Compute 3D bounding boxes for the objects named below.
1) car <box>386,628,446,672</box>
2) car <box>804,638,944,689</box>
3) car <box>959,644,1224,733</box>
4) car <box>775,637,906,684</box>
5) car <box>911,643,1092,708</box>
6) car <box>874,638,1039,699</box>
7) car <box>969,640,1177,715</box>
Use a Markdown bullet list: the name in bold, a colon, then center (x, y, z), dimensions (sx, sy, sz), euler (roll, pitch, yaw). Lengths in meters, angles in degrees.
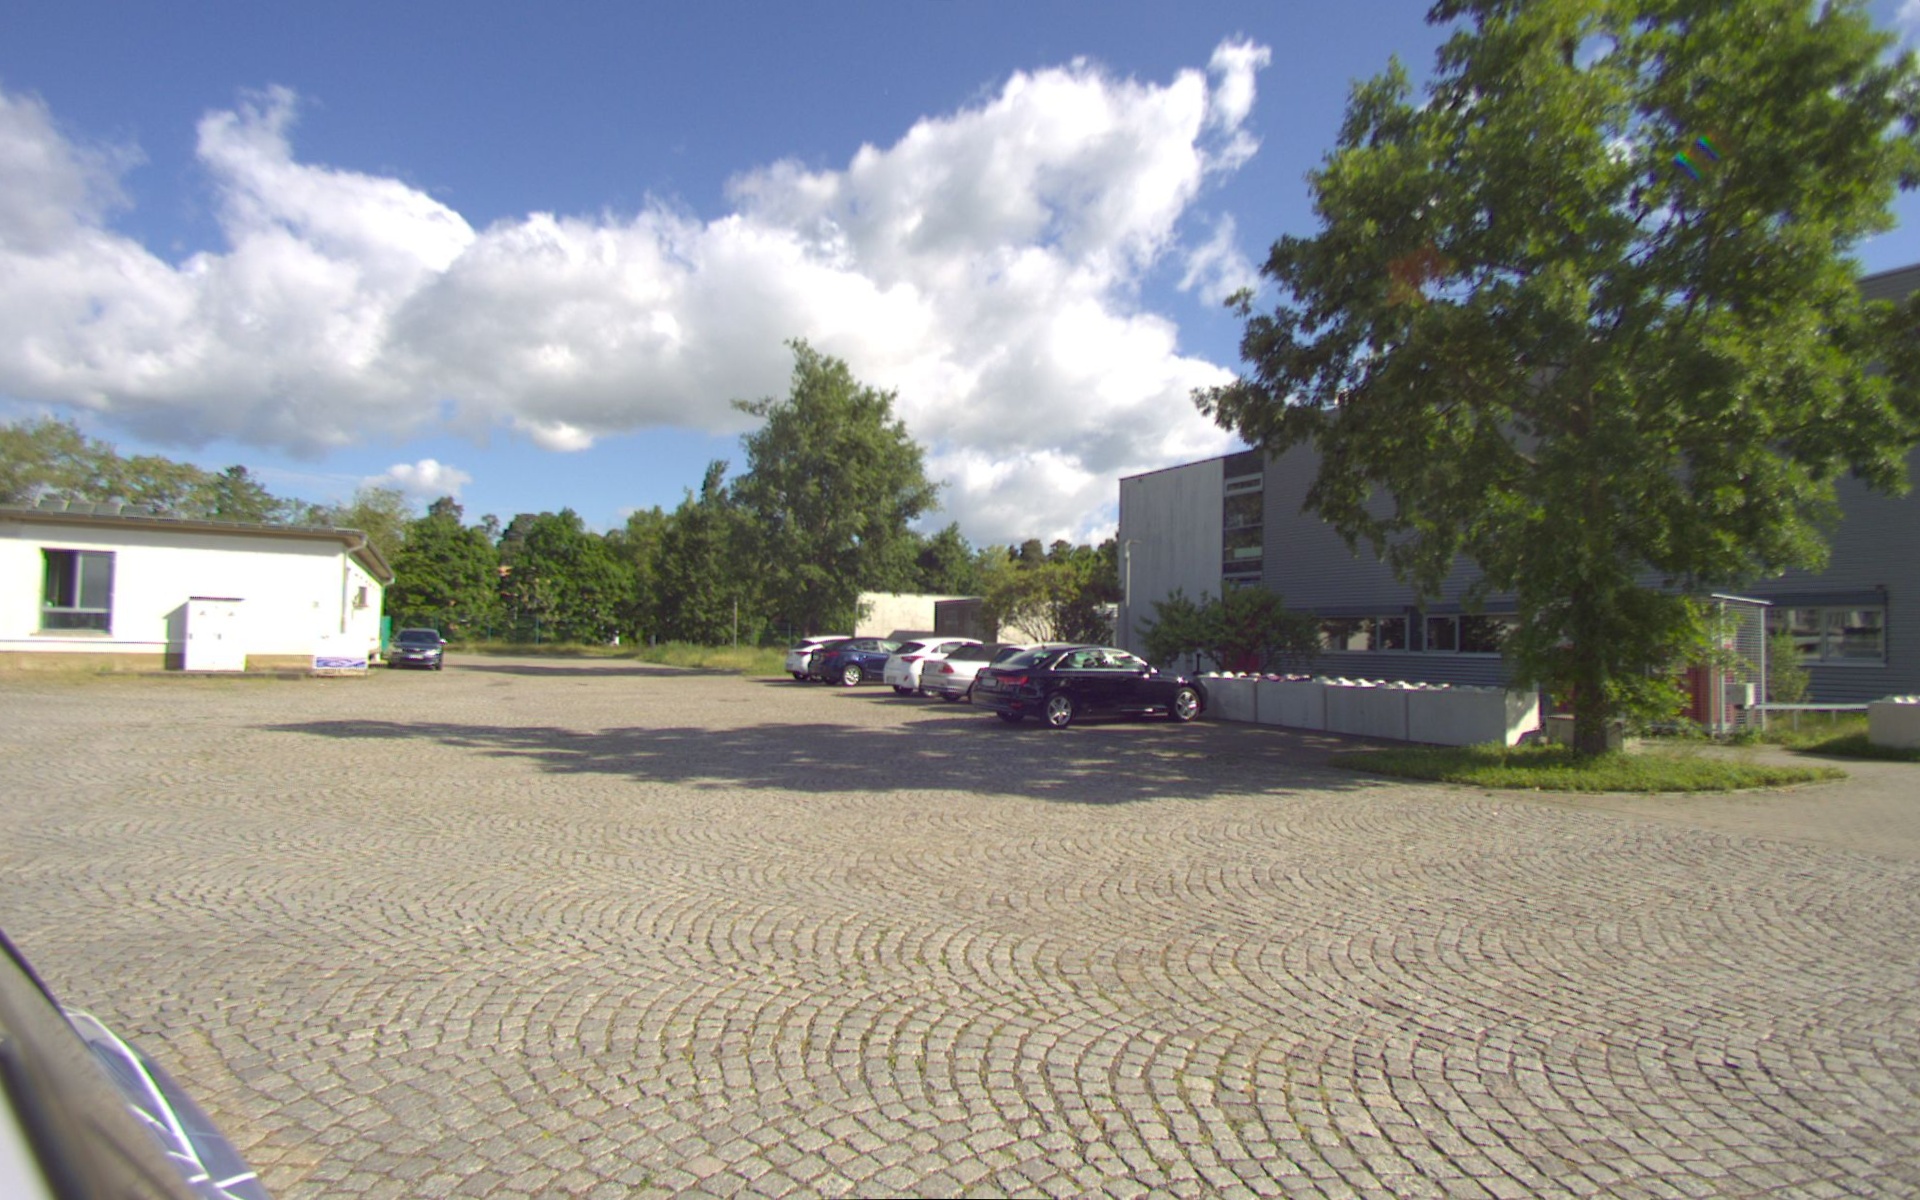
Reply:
- **car**: center (-19.940, 1.820, 37.204), dimensions (1.739, 1.446, 4.005), euler (5, -4, -26)
- **car**: center (-2.599, 1.874, 30.530), dimensions (3.857, 1.428, 1.698), euler (1, -2, -27)
- **car**: center (2.443, 1.537, 18.526), dimensions (4.652, 1.434, 1.762), euler (1, -2, -28)
- **car**: center (-3.876, 1.928, 32.867), dimensions (3.857, 1.446, 1.801), euler (1, -2, -27)
- **car**: center (0.965, 1.700, 23.613), dimensions (3.857, 1.382, 1.733), euler (1, -2, -27)
- **car**: center (-0.081, 1.714, 25.948), dimensions (3.857, 1.457, 1.761), euler (1, -2, -27)
- **car**: center (2.398, 1.598, 21.585), dimensions (4.079, 1.471, 1.697), euler (1, -2, -22)
